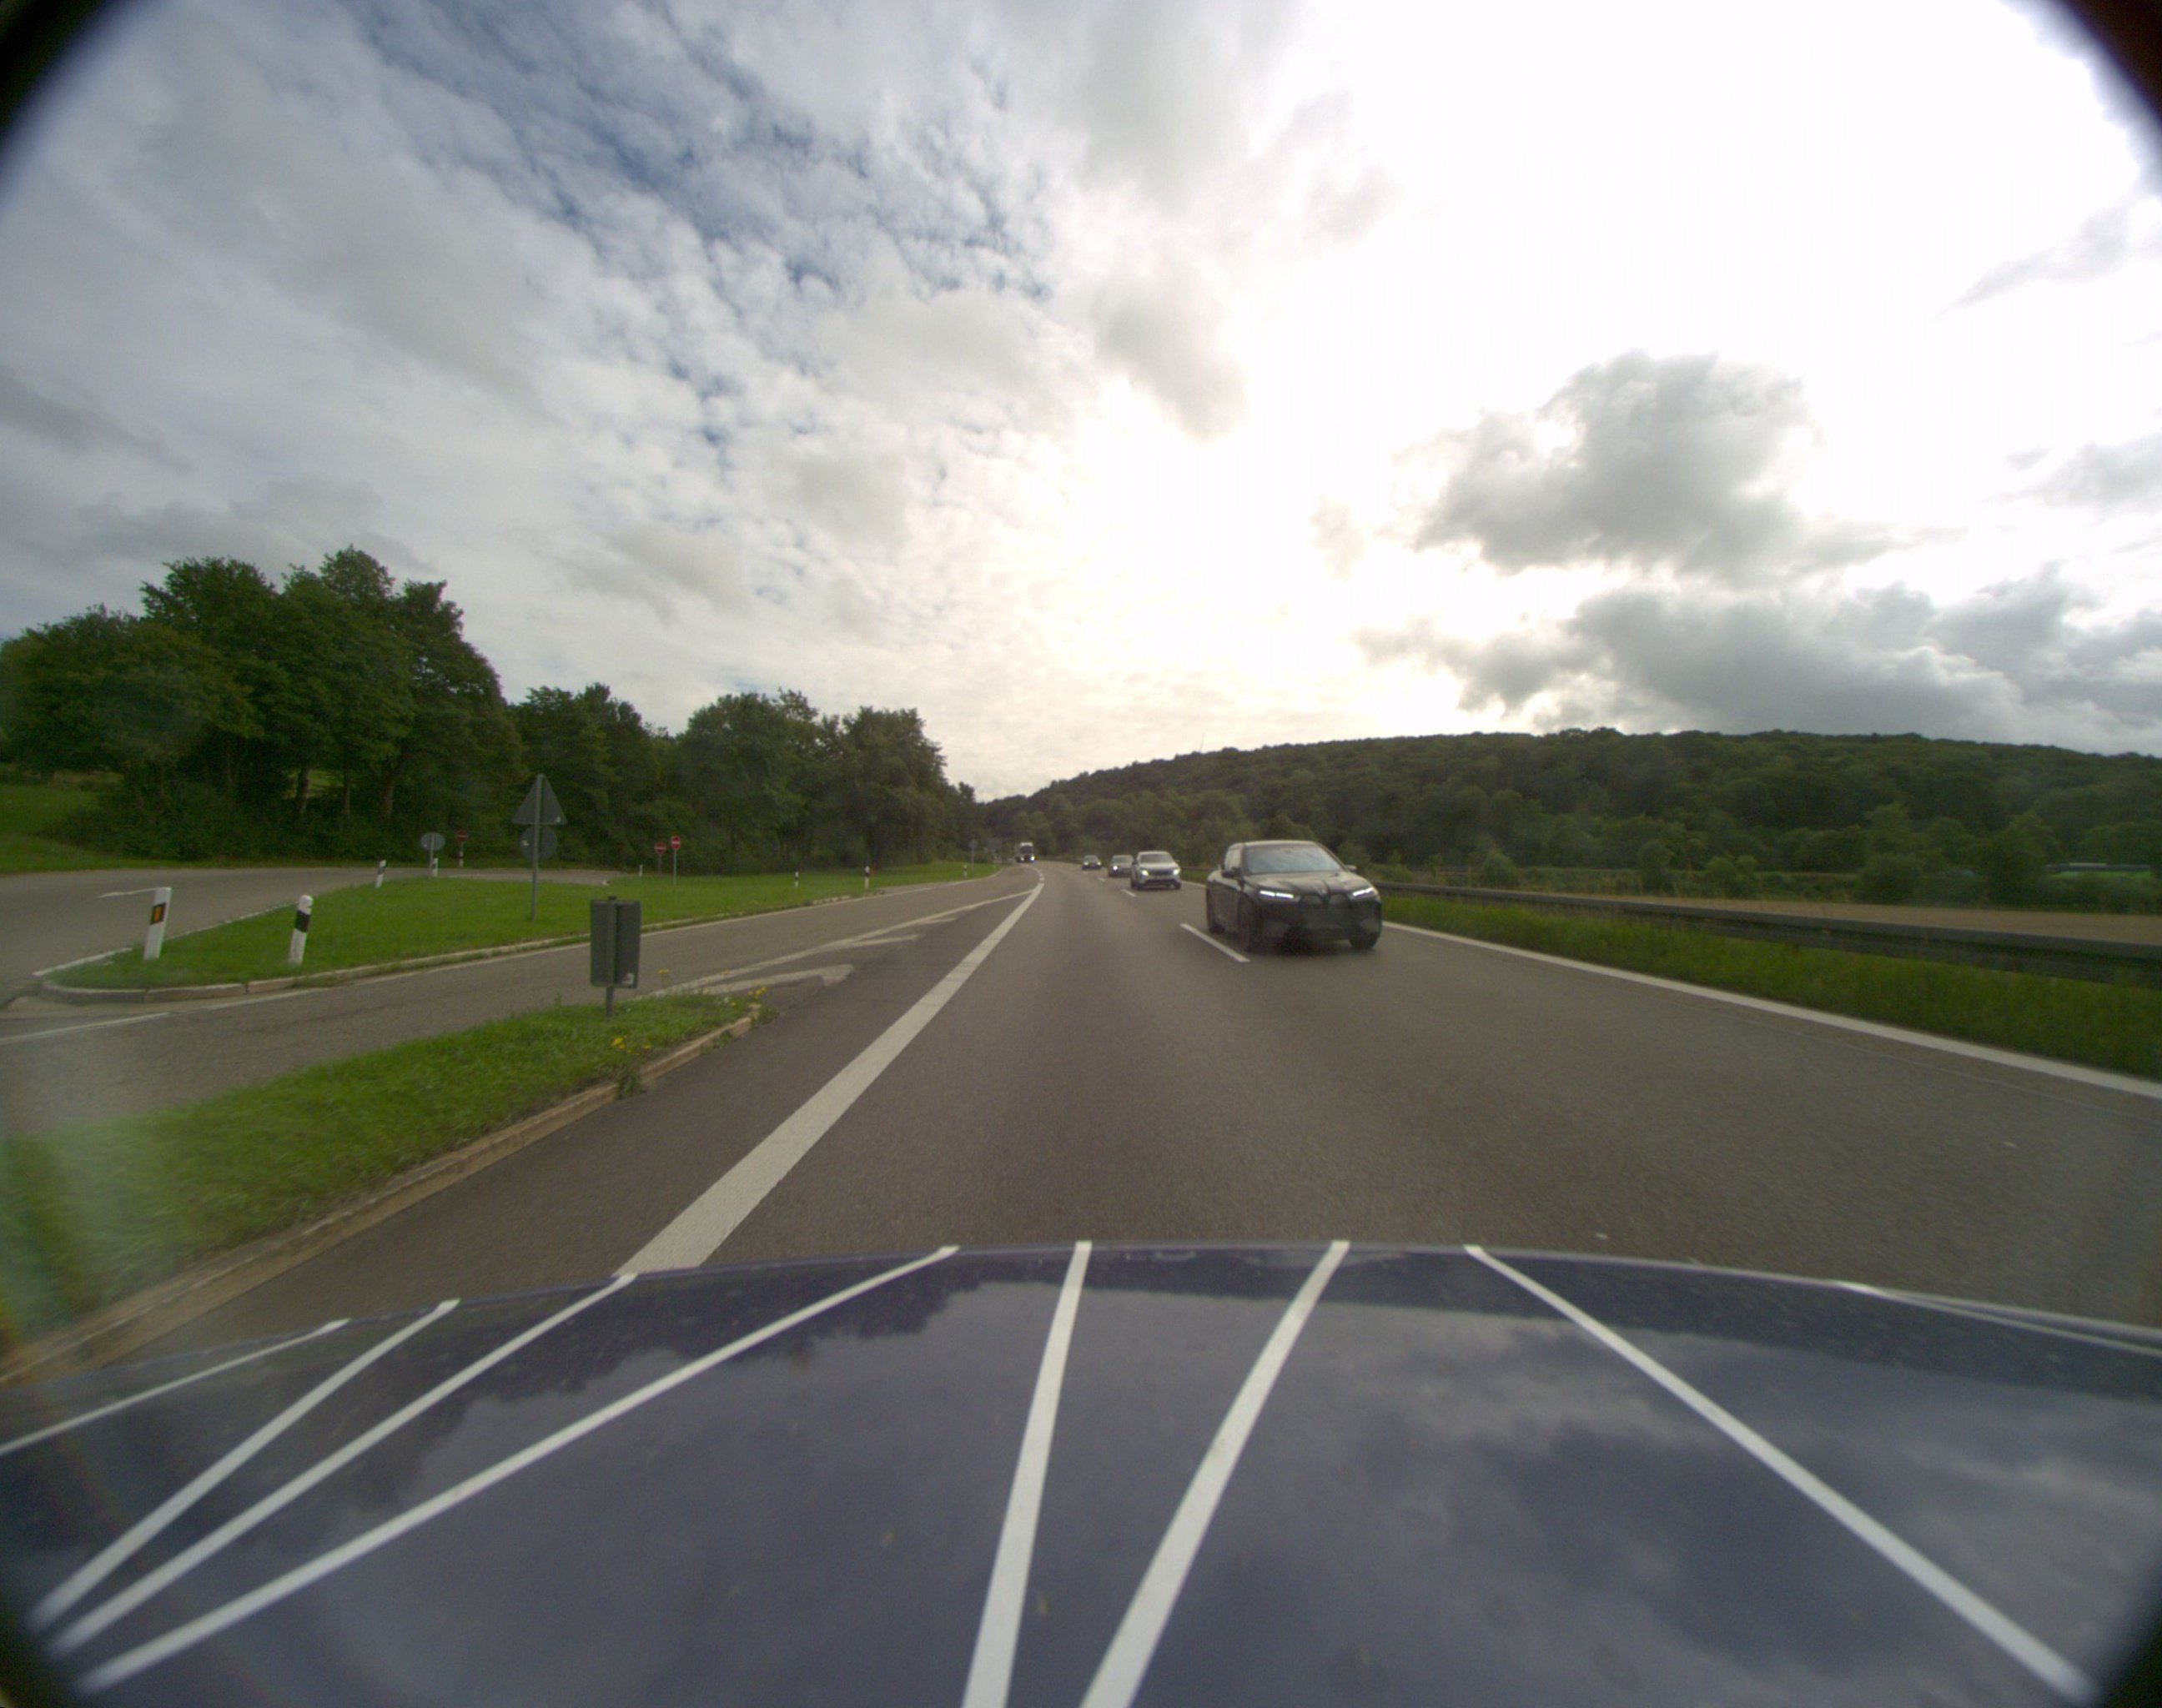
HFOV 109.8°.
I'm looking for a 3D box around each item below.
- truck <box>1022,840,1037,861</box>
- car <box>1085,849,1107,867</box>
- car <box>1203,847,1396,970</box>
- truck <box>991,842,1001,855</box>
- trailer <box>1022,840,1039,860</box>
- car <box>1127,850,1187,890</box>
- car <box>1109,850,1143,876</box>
[{"bbox_3d":[-10.263,-0.713,151.423,2.796,3.949,5.938,-1,1,-2],"label":"truck"},{"bbox_3d":[1.486,0.357,76.551,1.999,1.656,4.413,0,2,-1],"label":"car"},{"bbox_3d":[3.373,0.737,12.698,1.998,1.656,4.415,-2,0,1],"label":"car"},{"bbox_3d":[-26.545,-1.651,236.813,2.797,3.949,5.934,-1,2,-7],"label":"truck"},{"bbox_3d":[-10.328,-0.817,156.576,2.787,3.932,11.292,-1,1,-1],"label":"trailer"},{"bbox_3d":[3.295,0.671,33.772,1.999,1.656,4.414,-1,0,-3],"label":"car"},{"bbox_3d":[3.079,0.583,52.643,1.999,1.656,4.413,-1,1,-1],"label":"car"}]
